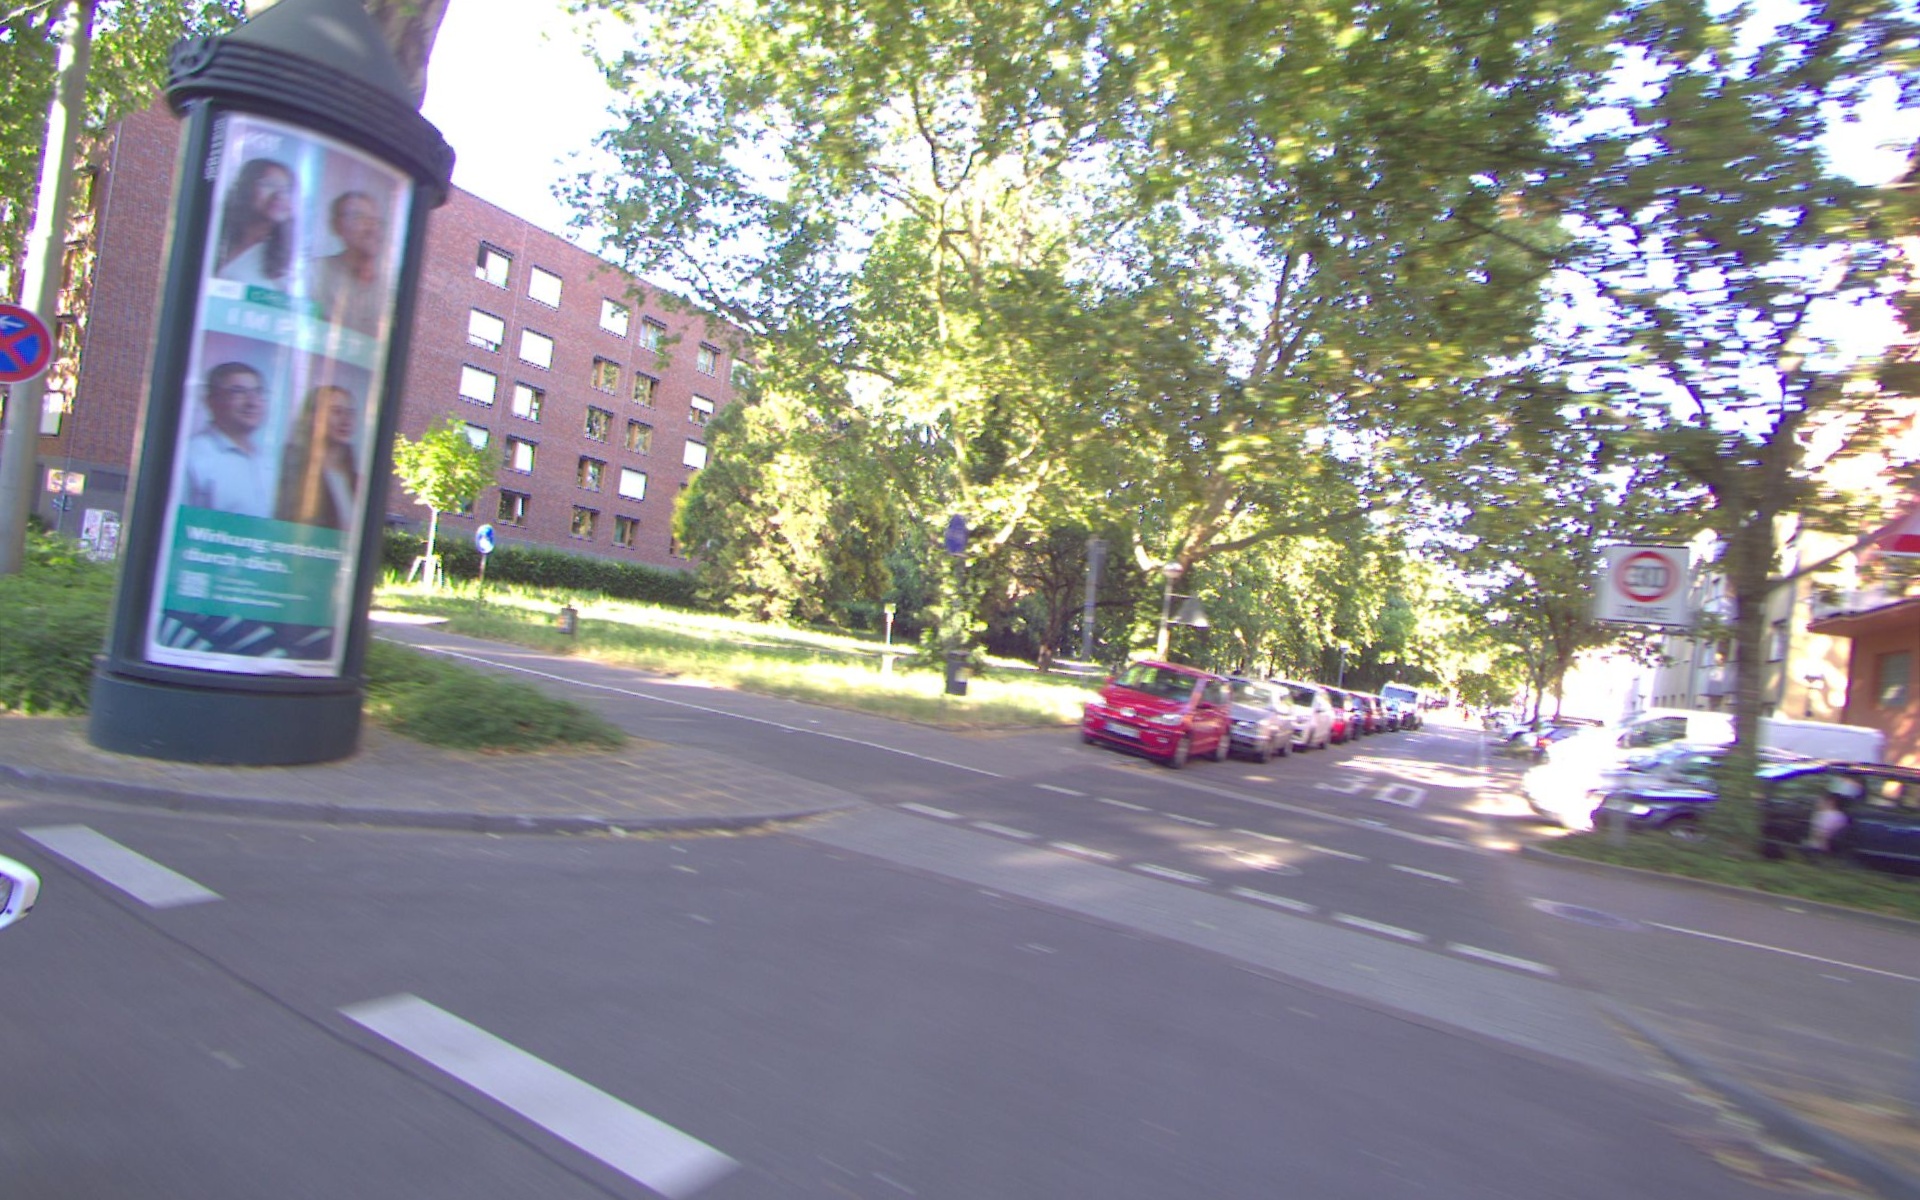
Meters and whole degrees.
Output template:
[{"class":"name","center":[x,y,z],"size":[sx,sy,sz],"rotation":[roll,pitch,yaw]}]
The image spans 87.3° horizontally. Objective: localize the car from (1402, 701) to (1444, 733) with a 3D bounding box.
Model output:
[{"class":"car","center":[26.609,6.695,57.783],"size":[1.769,1.528,3.997],"rotation":[7,-2,29]}]

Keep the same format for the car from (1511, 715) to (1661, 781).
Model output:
[{"class":"car","center":[23.425,5.502,37.857],"size":[4.497,1.593,1.794],"rotation":[7,-1,27]}]

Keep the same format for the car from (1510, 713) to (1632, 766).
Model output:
[{"class":"car","center":[28.029,6.391,46.345],"size":[4.497,1.593,1.794],"rotation":[7,-1,27]}]

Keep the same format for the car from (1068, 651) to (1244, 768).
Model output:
[{"class":"car","center":[3.277,1.743,16.298],"size":[1.655,1.469,3.546],"rotation":[7,-2,29]}]

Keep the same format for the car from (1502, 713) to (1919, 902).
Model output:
[{"class":"car","center":[10.362,2.764,14.221],"size":[4.496,1.593,1.794],"rotation":[7,-1,26]}]

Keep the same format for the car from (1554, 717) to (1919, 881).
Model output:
[{"class":"car","center":[12.345,3.065,16.200],"size":[4.497,1.593,1.794],"rotation":[7,-1,27]}]

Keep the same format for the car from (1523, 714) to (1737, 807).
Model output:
[{"class":"car","center":[18.036,4.287,27.384],"size":[4.497,1.593,1.794],"rotation":[7,-1,27]}]

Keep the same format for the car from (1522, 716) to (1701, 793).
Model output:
[{"class":"car","center":[20.825,4.899,32.404],"size":[4.497,1.593,1.794],"rotation":[7,-1,27]}]

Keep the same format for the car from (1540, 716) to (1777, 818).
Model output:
[{"class":"car","center":[17.235,4.078,25.141],"size":[4.497,1.593,1.794],"rotation":[7,-1,27]}]

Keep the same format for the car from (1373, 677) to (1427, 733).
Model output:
[{"class":"car","center":[23.595,5.622,53.869],"size":[1.942,2.592,5.041],"rotation":[7,-1,29]}]

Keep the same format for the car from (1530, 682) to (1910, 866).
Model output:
[{"class":"car","center":[13.337,2.973,18.155],"size":[4.996,2.210,1.917],"rotation":[7,-1,28]}]

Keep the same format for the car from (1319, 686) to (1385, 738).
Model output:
[{"class":"car","center":[14.862,4.210,38.034],"size":[1.655,1.600,3.927],"rotation":[7,-2,29]}]

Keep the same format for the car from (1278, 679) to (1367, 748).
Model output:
[{"class":"car","center":[10.481,3.237,28.931],"size":[1.655,1.600,3.927],"rotation":[7,-2,29]}]

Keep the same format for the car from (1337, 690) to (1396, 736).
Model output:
[{"class":"car","center":[16.926,4.664,41.785],"size":[1.655,1.600,3.927],"rotation":[7,-2,29]}]

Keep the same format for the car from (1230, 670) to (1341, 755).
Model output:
[{"class":"car","center":[7.754,2.627,23.736],"size":[1.655,1.600,3.927],"rotation":[7,-2,29]}]

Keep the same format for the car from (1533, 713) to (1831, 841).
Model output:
[{"class":"car","center":[14.268,3.446,20.264],"size":[4.497,1.593,1.794],"rotation":[7,-1,27]}]

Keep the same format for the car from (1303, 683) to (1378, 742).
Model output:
[{"class":"car","center":[12.629,3.691,33.249],"size":[1.655,1.600,3.927],"rotation":[7,-2,29]}]

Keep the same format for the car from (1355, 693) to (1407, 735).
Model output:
[{"class":"car","center":[19.473,5.229,46.479],"size":[1.655,1.600,3.927],"rotation":[7,-2,29]}]

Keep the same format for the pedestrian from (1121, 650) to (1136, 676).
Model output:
[{"class":"pedestrian","center":[11.702,4.382,69.852],"size":[0.639,1.681,0.649],"rotation":[7,-1,31]}]

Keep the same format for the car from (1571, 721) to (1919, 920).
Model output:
[{"class":"car","center":[10.055,2.621,11.912],"size":[4.496,1.593,1.794],"rotation":[7,-1,26]}]

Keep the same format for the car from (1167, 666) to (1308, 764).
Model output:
[{"class":"car","center":[5.477,2.188,19.519],"size":[1.655,1.469,3.927],"rotation":[7,-2,29]}]

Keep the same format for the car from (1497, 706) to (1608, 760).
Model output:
[{"class":"car","center":[29.587,6.617,50.401],"size":[4.497,1.930,1.794],"rotation":[7,-1,27]}]
